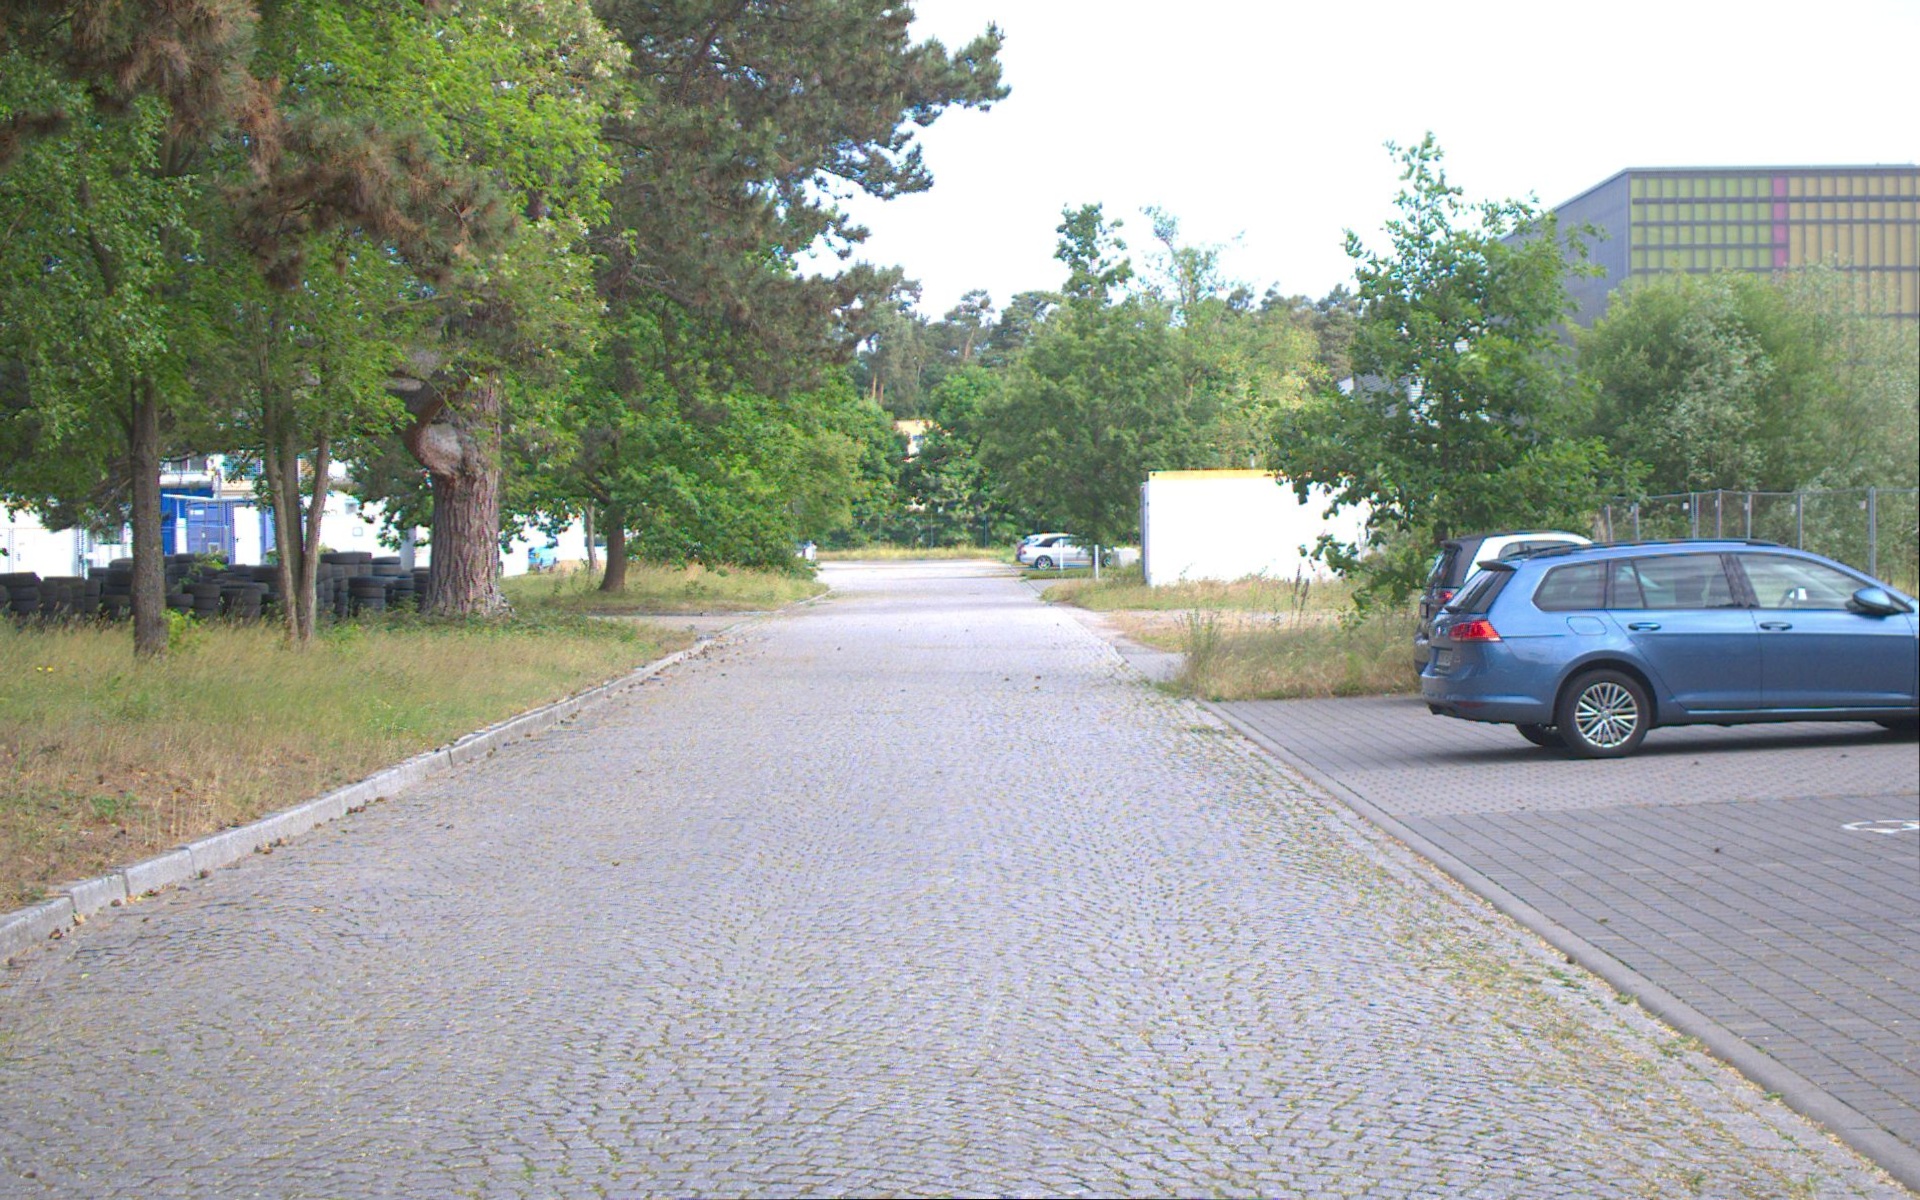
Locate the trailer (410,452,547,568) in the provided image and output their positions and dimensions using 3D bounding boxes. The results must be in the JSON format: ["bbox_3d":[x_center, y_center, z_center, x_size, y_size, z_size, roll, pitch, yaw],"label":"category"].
[{"bbox_3d":[-15.523,-2.896,111.592,2.625,3.585,10.177,0,1,2],"label":"trailer"}]

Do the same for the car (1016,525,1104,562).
[{"bbox_3d":[4.105,-2.325,141.729,3.522,1.357,1.622,-2,1,1],"label":"car"}]

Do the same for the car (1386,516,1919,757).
[{"bbox_3d":[5.462,0.216,24.591,4.490,1.470,1.831,-3,1,-2],"label":"car"}]

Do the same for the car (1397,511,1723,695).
[{"bbox_3d":[5.551,0.006,32.052,2.710,1.551,1.653,-3,1,1],"label":"car"}]
